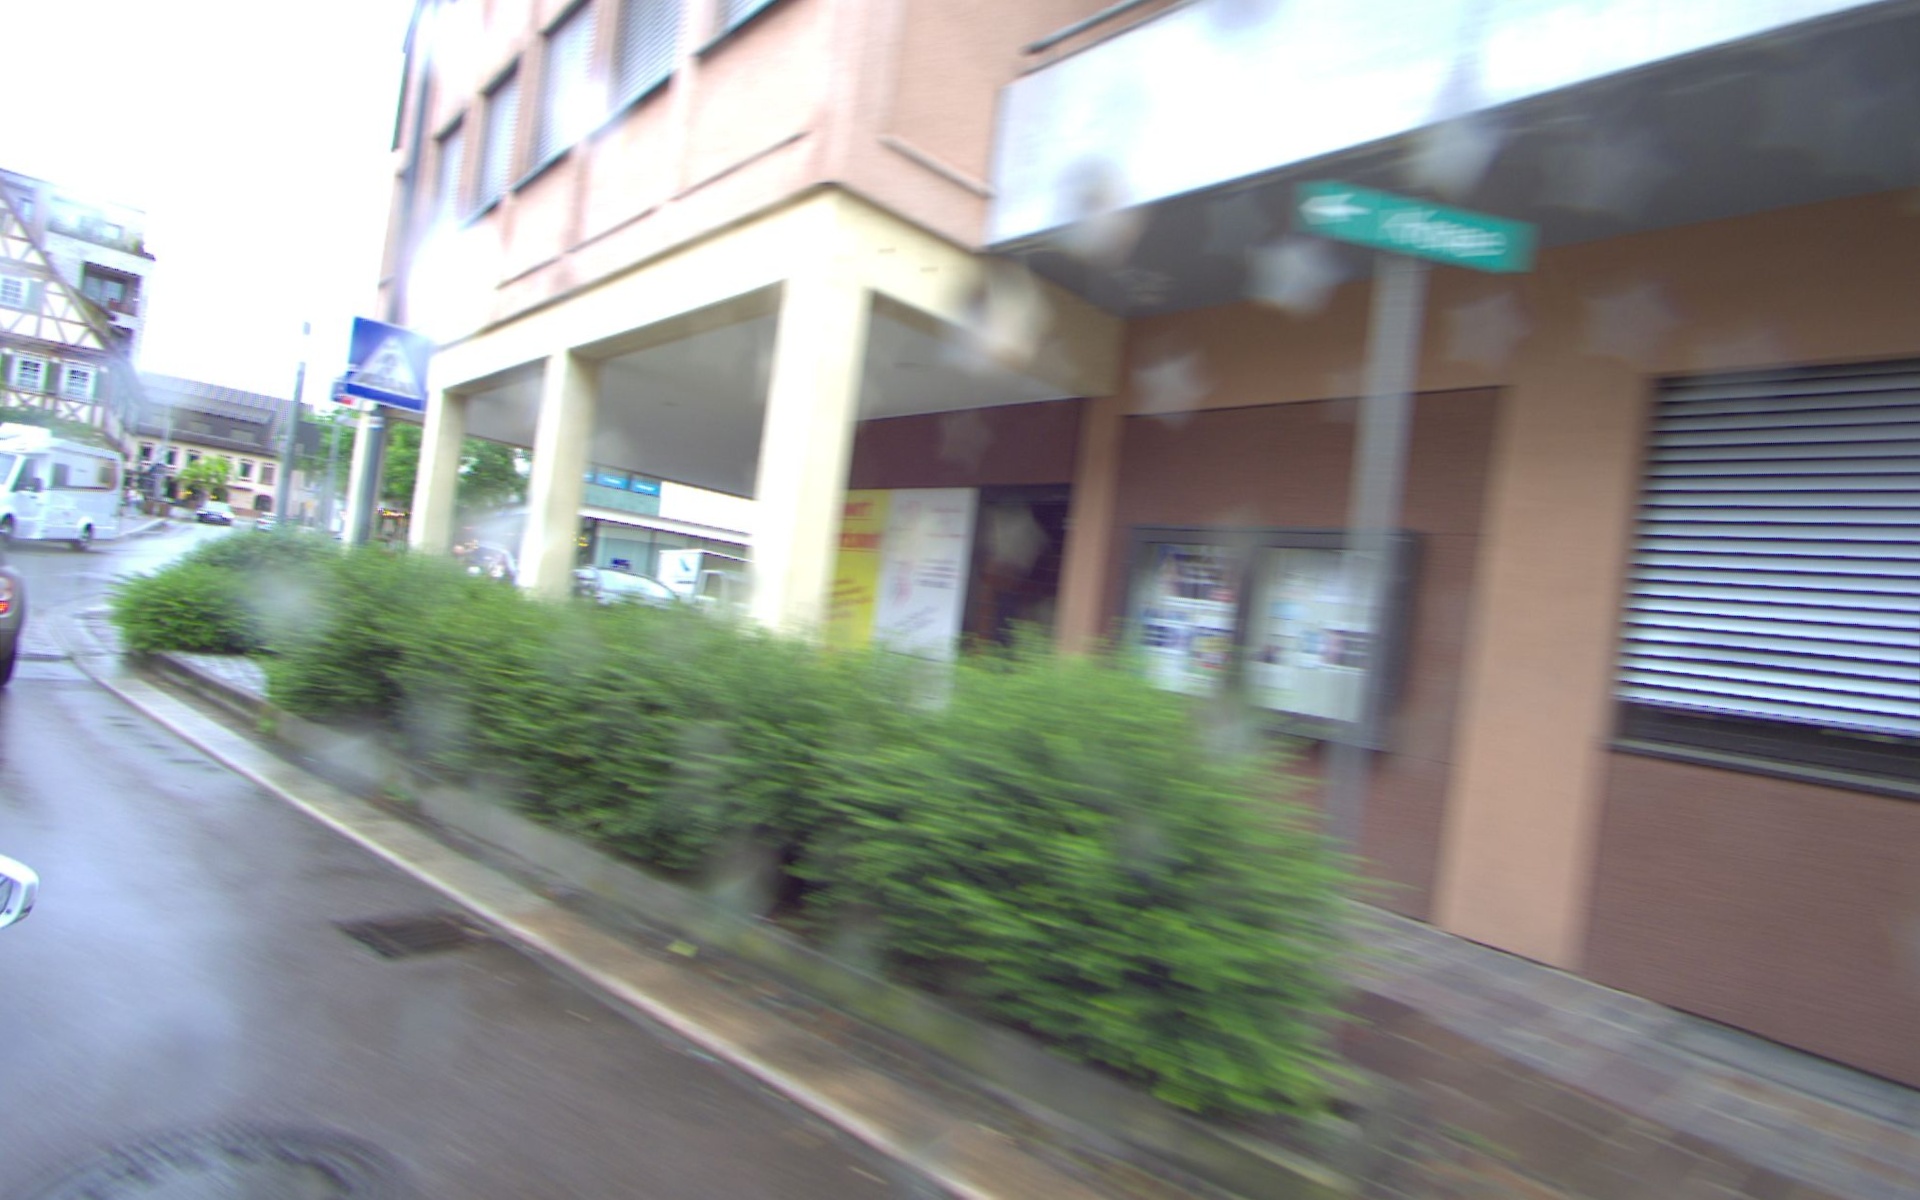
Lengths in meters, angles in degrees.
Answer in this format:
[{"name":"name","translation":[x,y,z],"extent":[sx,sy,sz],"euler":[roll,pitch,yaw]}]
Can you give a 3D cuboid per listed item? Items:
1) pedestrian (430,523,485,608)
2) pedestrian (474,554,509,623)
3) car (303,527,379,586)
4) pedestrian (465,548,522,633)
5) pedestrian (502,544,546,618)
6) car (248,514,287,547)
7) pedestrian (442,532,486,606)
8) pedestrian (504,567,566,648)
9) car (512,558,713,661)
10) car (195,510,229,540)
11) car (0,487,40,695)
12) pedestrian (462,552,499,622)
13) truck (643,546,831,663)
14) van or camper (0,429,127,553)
[{"name":"pedestrian","translation":[-10.650,-0.715,21.360],"extent":[0.687,1.681,0.819],"euler":[7,0,-13]},{"name":"pedestrian","translation":[-11.949,-0.301,25.651],"extent":[0.538,1.683,0.515],"euler":[7,0,-38]},{"name":"car","translation":[-17.537,-1.228,28.617],"extent":[1.525,1.378,3.349],"euler":[8,-1,-29]},{"name":"pedestrian","translation":[-9.954,-0.195,21.500],"extent":[0.712,1.709,0.732],"euler":[7,0,-5]},{"name":"pedestrian","translation":[-10.731,-0.467,24.742],"extent":[0.631,1.710,0.734],"euler":[7,0,-40]},{"name":"car","translation":[-42.103,-4.218,61.205],"extent":[1.664,1.733,3.291],"euler":[8,-1,-33]},{"name":"pedestrian","translation":[-12.541,-0.787,25.411],"extent":[0.728,1.769,0.885],"euler":[7,0,-33]},{"name":"pedestrian","translation":[-9.437,0.174,22.360],"extent":[0.951,1.658,0.733],"euler":[8,0,-10]},{"name":"car","translation":[-6.227,0.109,17.721],"extent":[1.756,1.291,4.421],"euler":[8,-1,-40]},{"name":"car","translation":[-50.433,-5.042,67.810],"extent":[1.580,1.733,3.285],"euler":[8,-1,-39]},{"name":"car","translation":[-8.558,-0.287,7.686],"extent":[3.289,1.488,1.523],"euler":[7,-1,36]},{"name":"pedestrian","translation":[-10.899,-0.290,22.885],"extent":[0.490,1.527,0.489],"euler":[7,0,-14]},{"name":"truck","translation":[-4.464,0.044,19.738],"extent":[1.756,1.829,3.954],"euler":[8,-1,-41]},{"name":"van or camper","translation":[-22.616,-2.613,23.749],"extent":[2.415,2.616,6.713],"euler":[9,0,-23]}]
